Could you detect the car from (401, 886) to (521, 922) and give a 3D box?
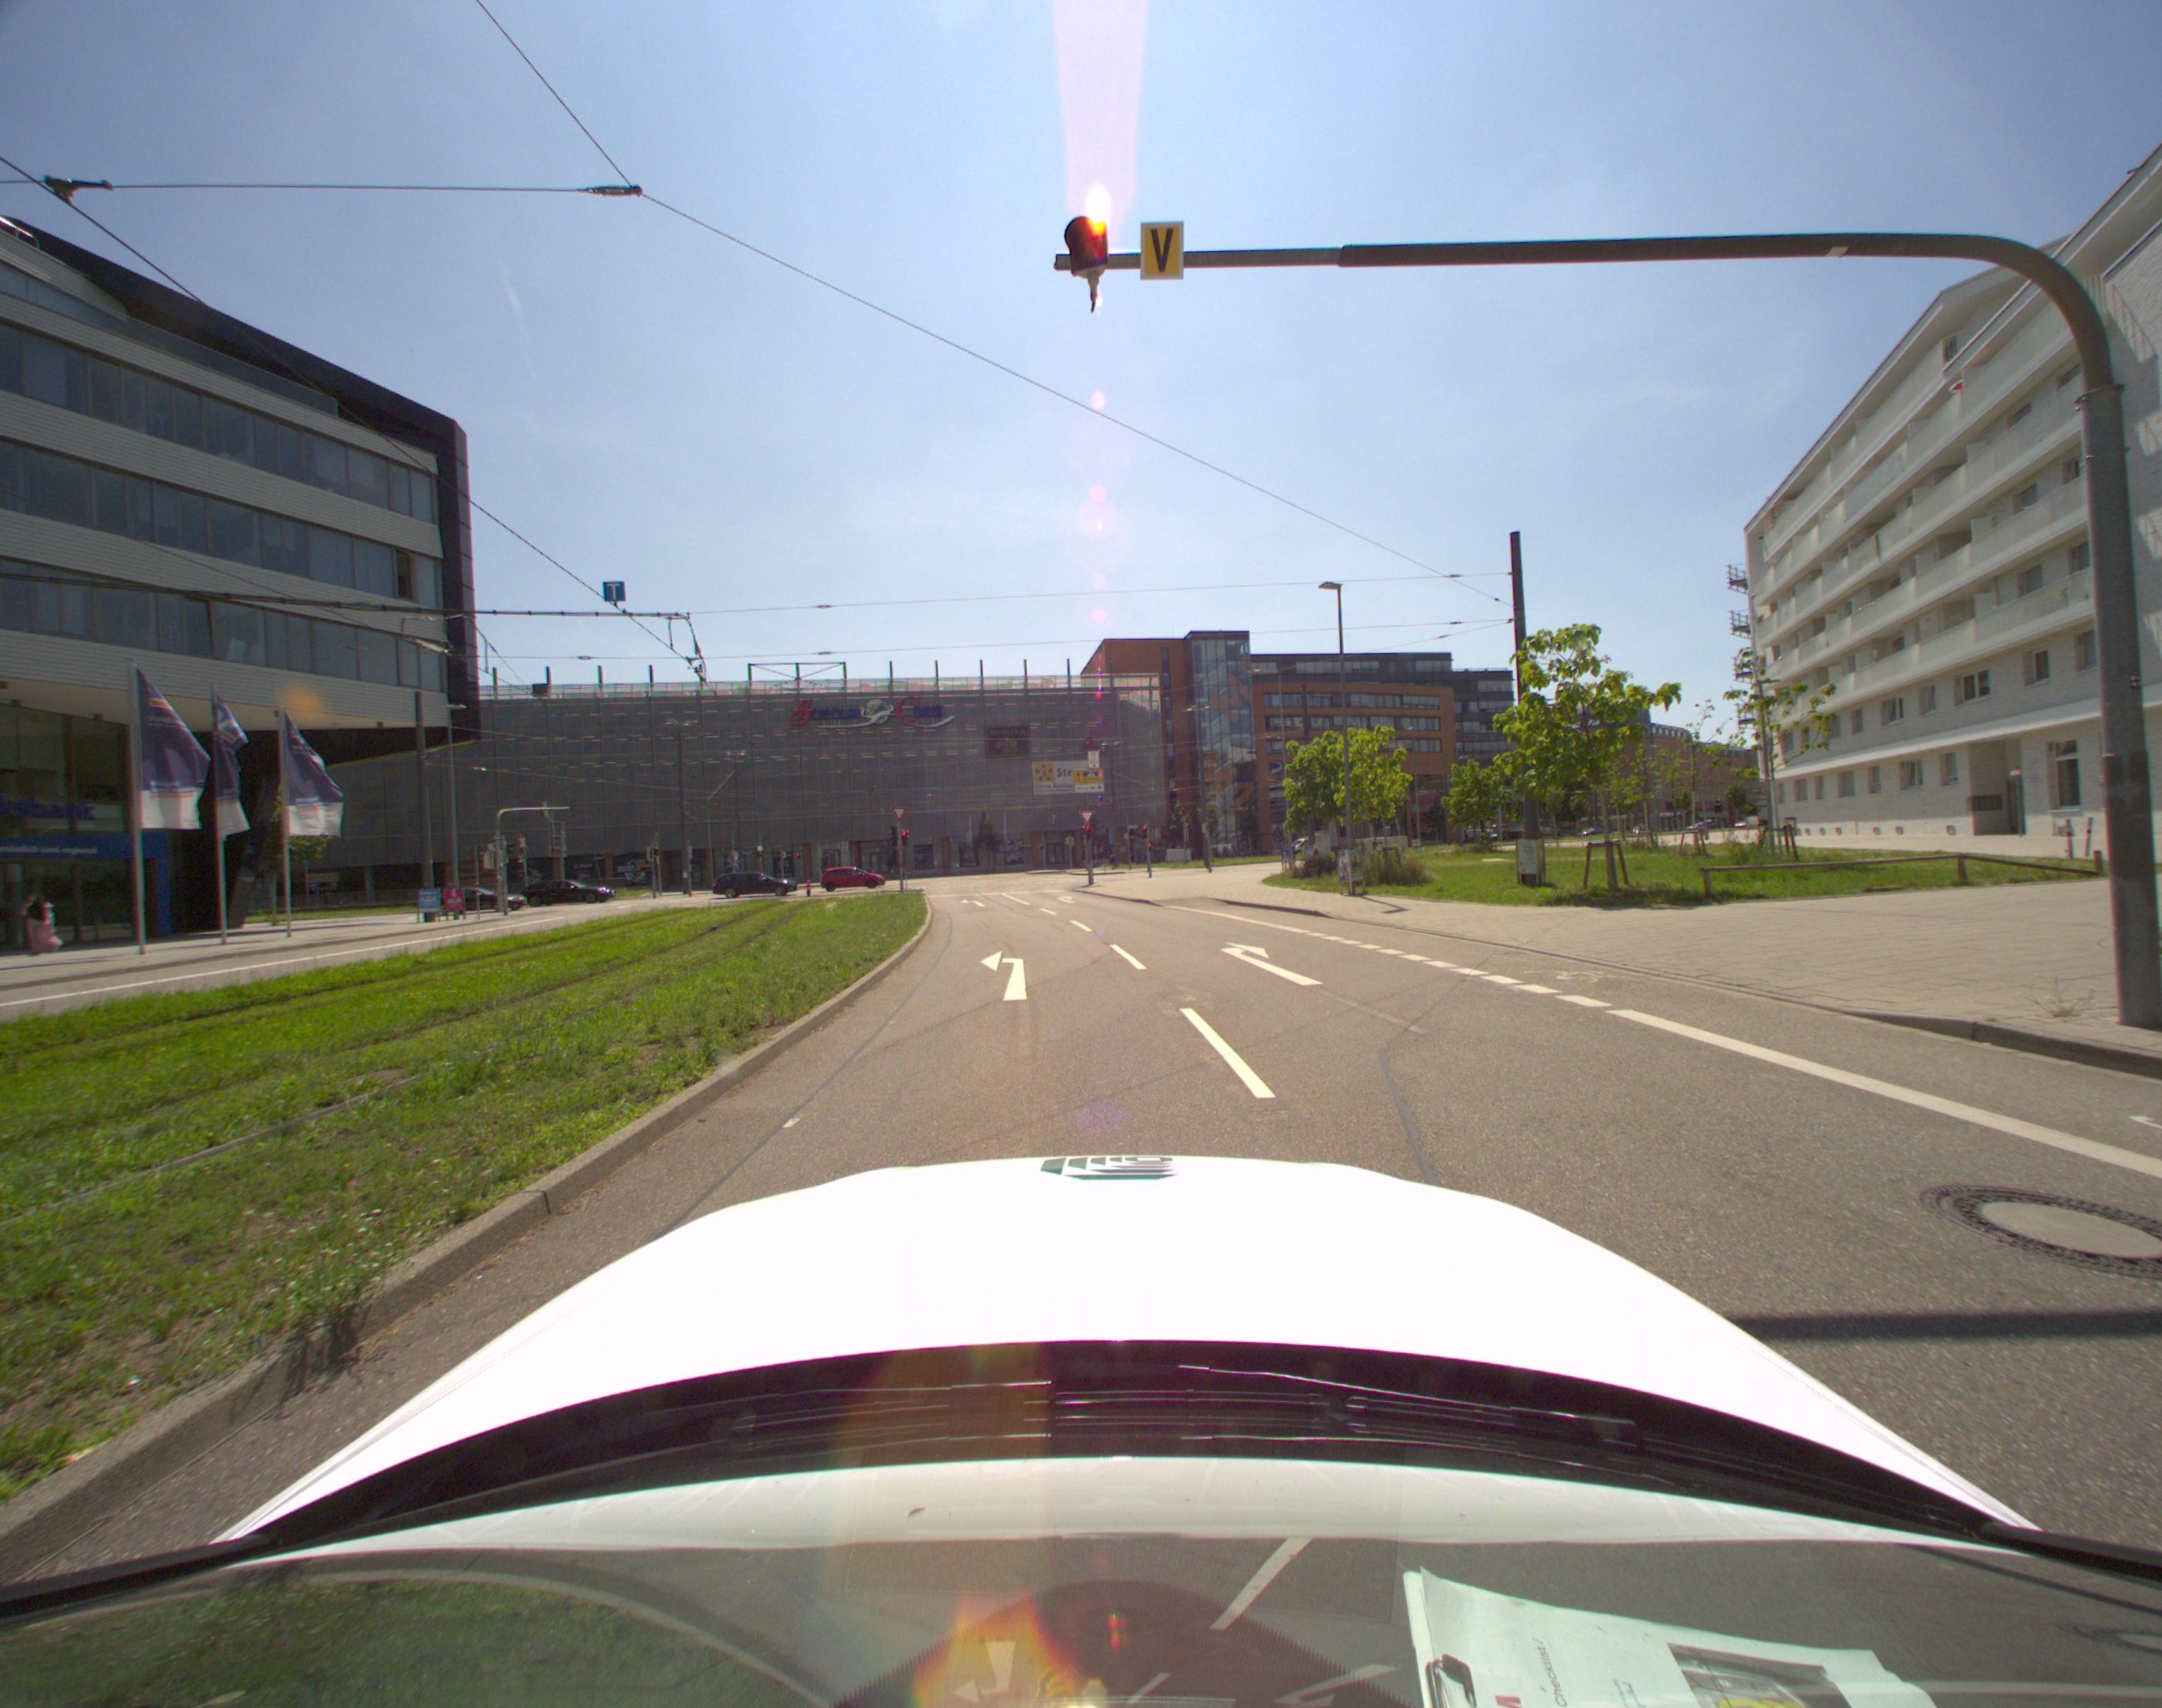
[{"bbox_3d":[-32.591,2.604,42.979,4.555,1.576,1.991,-2,0,-14],"label":"car"}]

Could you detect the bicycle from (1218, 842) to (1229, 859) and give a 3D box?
[{"bbox_3d":[17.933,-0.424,102.505,0.484,2.013,2.340,-2,0,-8],"label":"bicycle"}]

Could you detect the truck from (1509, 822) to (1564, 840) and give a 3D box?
[{"bbox_3d":[84.843,-4.262,151.822,2.007,2.809,9.149,-2,0,-31],"label":"truck"}]

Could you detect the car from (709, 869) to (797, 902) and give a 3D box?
[{"bbox_3d":[-18.889,1.775,47.113,4.538,1.508,1.831,-4,1,-18],"label":"car"}]

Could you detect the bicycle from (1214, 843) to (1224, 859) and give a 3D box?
[{"bbox_3d":[17.341,-0.401,102.409,0.484,2.013,2.340,-2,0,-8],"label":"bicycle"}]

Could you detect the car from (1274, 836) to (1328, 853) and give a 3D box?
[{"bbox_3d":[24.244,-1.015,89.771,5.475,1.668,1.989,-2,0,-16],"label":"car"}]

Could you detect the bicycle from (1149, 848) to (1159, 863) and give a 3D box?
[{"bbox_3d":[8.889,0.208,99.703,0.598,1.731,2.253,-2,0,-9],"label":"bicycle"}]

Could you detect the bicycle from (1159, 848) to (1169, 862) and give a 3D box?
[{"bbox_3d":[10.122,0.113,99.476,0.598,1.731,2.253,-2,0,-9],"label":"bicycle"}]

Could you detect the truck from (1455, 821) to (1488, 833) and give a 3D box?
[{"bbox_3d":[73.621,-5.045,153.739,1.890,2.013,5.322,-2,0,-35],"label":"truck"}]

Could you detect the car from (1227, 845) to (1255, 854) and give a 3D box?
[{"bbox_3d":[19.546,-0.551,99.578,2.997,1.035,1.344,-2,0,-14],"label":"car"}]

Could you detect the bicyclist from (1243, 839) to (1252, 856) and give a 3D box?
[{"bbox_3d":[20.822,-0.803,101.759,0.912,2.013,0.746,-2,0,-9],"label":"bicyclist"}]

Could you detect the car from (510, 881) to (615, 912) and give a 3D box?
[{"bbox_3d":[-30.410,2.470,47.914,4.771,1.460,1.879,-2,0,-14],"label":"car"}]

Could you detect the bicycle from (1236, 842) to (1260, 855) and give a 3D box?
[{"bbox_3d":[20.907,-0.676,101.814,2.848,1.557,0.703,-2,0,-8],"label":"bicycle"}]

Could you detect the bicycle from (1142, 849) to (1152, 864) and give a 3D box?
[{"bbox_3d":[8.050,0.278,99.578,0.598,1.731,2.253,-2,0,-9],"label":"bicycle"}]

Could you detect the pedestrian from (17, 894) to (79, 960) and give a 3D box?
[{"bbox_3d":[-27.504,1.921,21.705,0.752,1.630,0.905,-2,0,-35],"label":"pedestrian"}]

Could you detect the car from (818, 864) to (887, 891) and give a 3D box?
[{"bbox_3d":[-14.470,1.488,51.837,4.132,1.508,1.833,-2,0,-14],"label":"car"}]

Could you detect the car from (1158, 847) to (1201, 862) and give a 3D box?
[{"bbox_3d":[10.236,0.057,84.725,3.990,1.442,1.737,-2,0,-12],"label":"car"}]
